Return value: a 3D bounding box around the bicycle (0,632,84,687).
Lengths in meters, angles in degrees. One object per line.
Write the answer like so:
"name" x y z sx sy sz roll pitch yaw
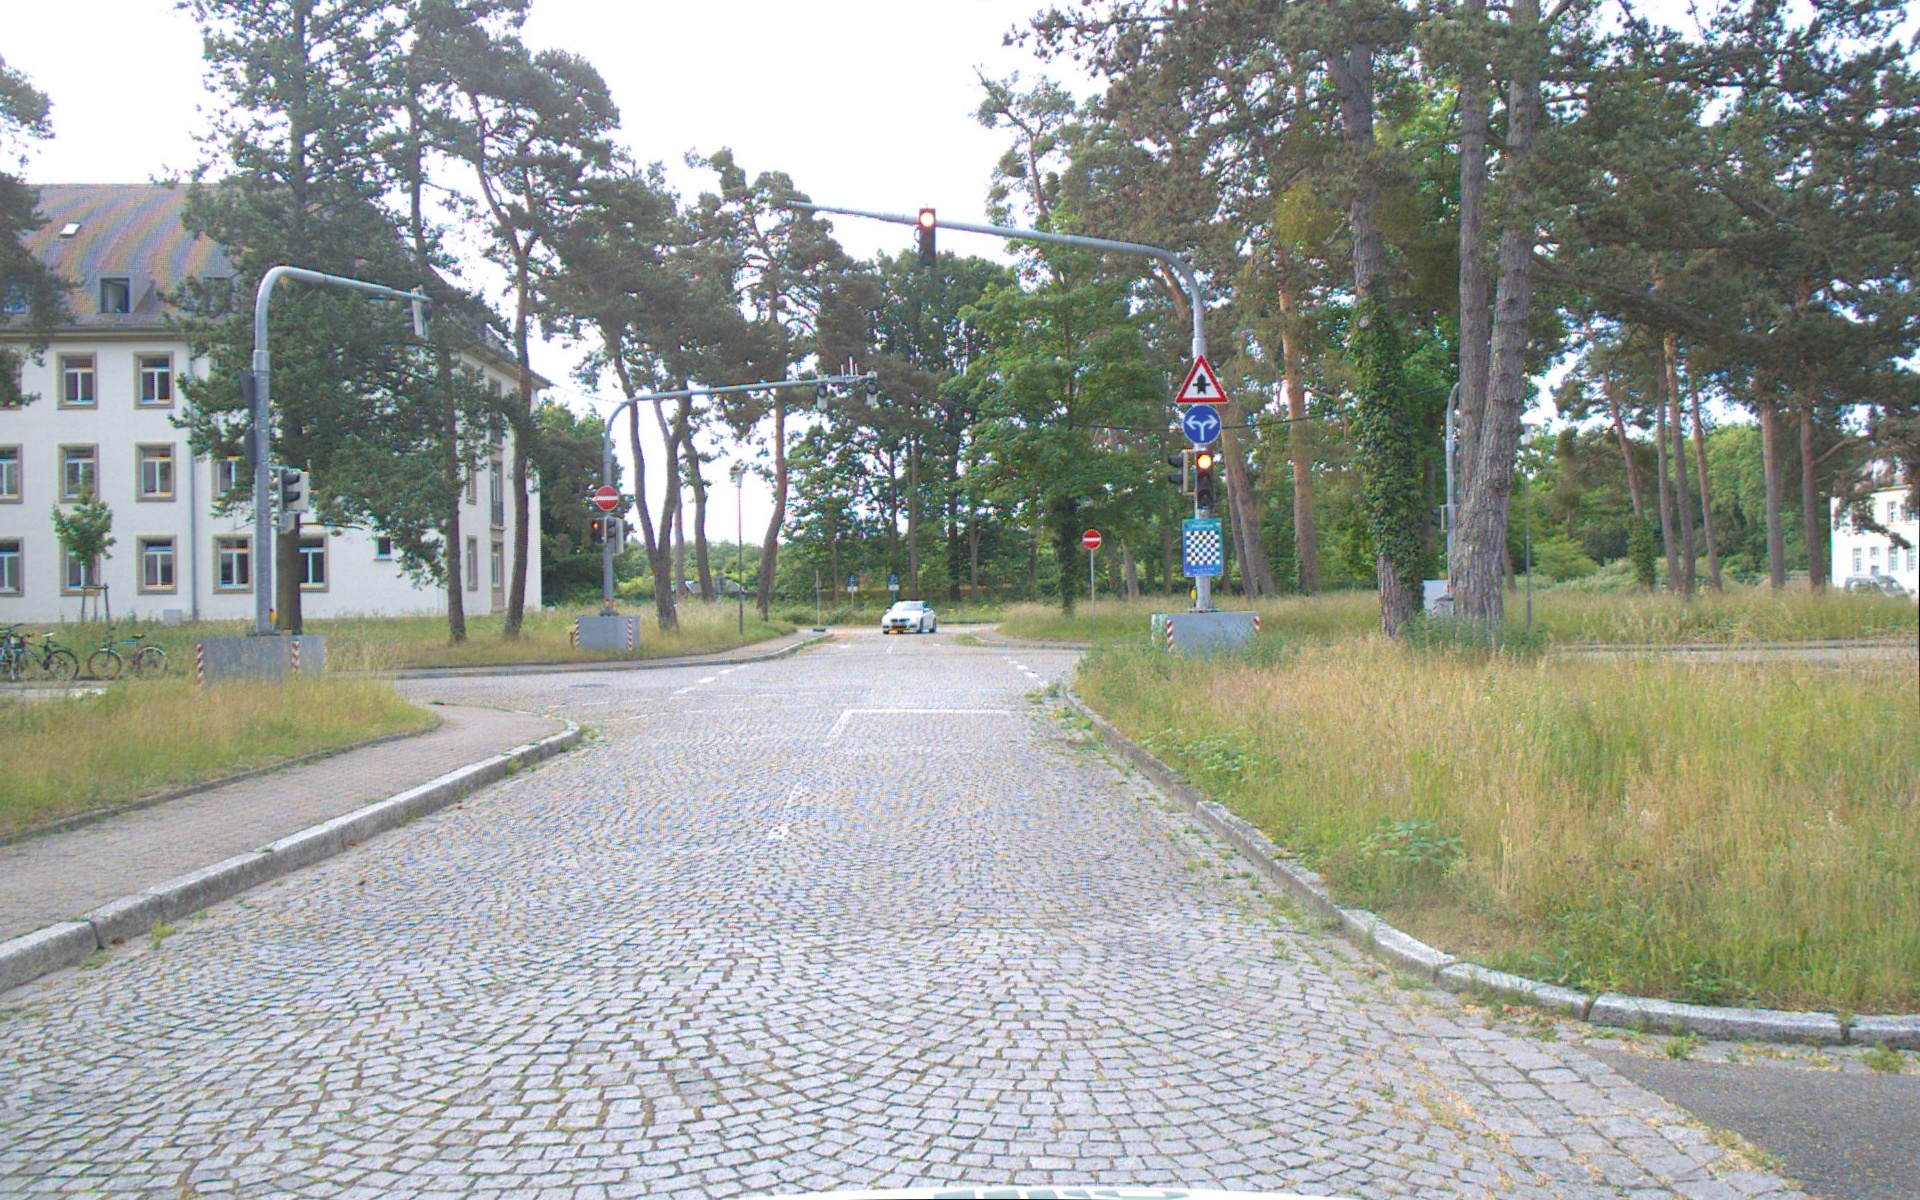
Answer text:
"bicycle" -19.338 1.254 34.845 1.435 1.098 0.516 -2 0 -4

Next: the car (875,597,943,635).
"car" -2.232 0.701 73.946 1.736 1.463 4.221 -4 0 16

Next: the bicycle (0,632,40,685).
"bicycle" -20.771 1.277 36.176 0.504 1.098 1.584 -1 0 -4

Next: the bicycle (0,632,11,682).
"bicycle" -21.434 1.271 36.063 0.504 1.098 1.586 -2 0 1

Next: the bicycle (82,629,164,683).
"bicycle" -17.737 1.192 35.071 1.435 1.084 0.516 -2 0 -4
